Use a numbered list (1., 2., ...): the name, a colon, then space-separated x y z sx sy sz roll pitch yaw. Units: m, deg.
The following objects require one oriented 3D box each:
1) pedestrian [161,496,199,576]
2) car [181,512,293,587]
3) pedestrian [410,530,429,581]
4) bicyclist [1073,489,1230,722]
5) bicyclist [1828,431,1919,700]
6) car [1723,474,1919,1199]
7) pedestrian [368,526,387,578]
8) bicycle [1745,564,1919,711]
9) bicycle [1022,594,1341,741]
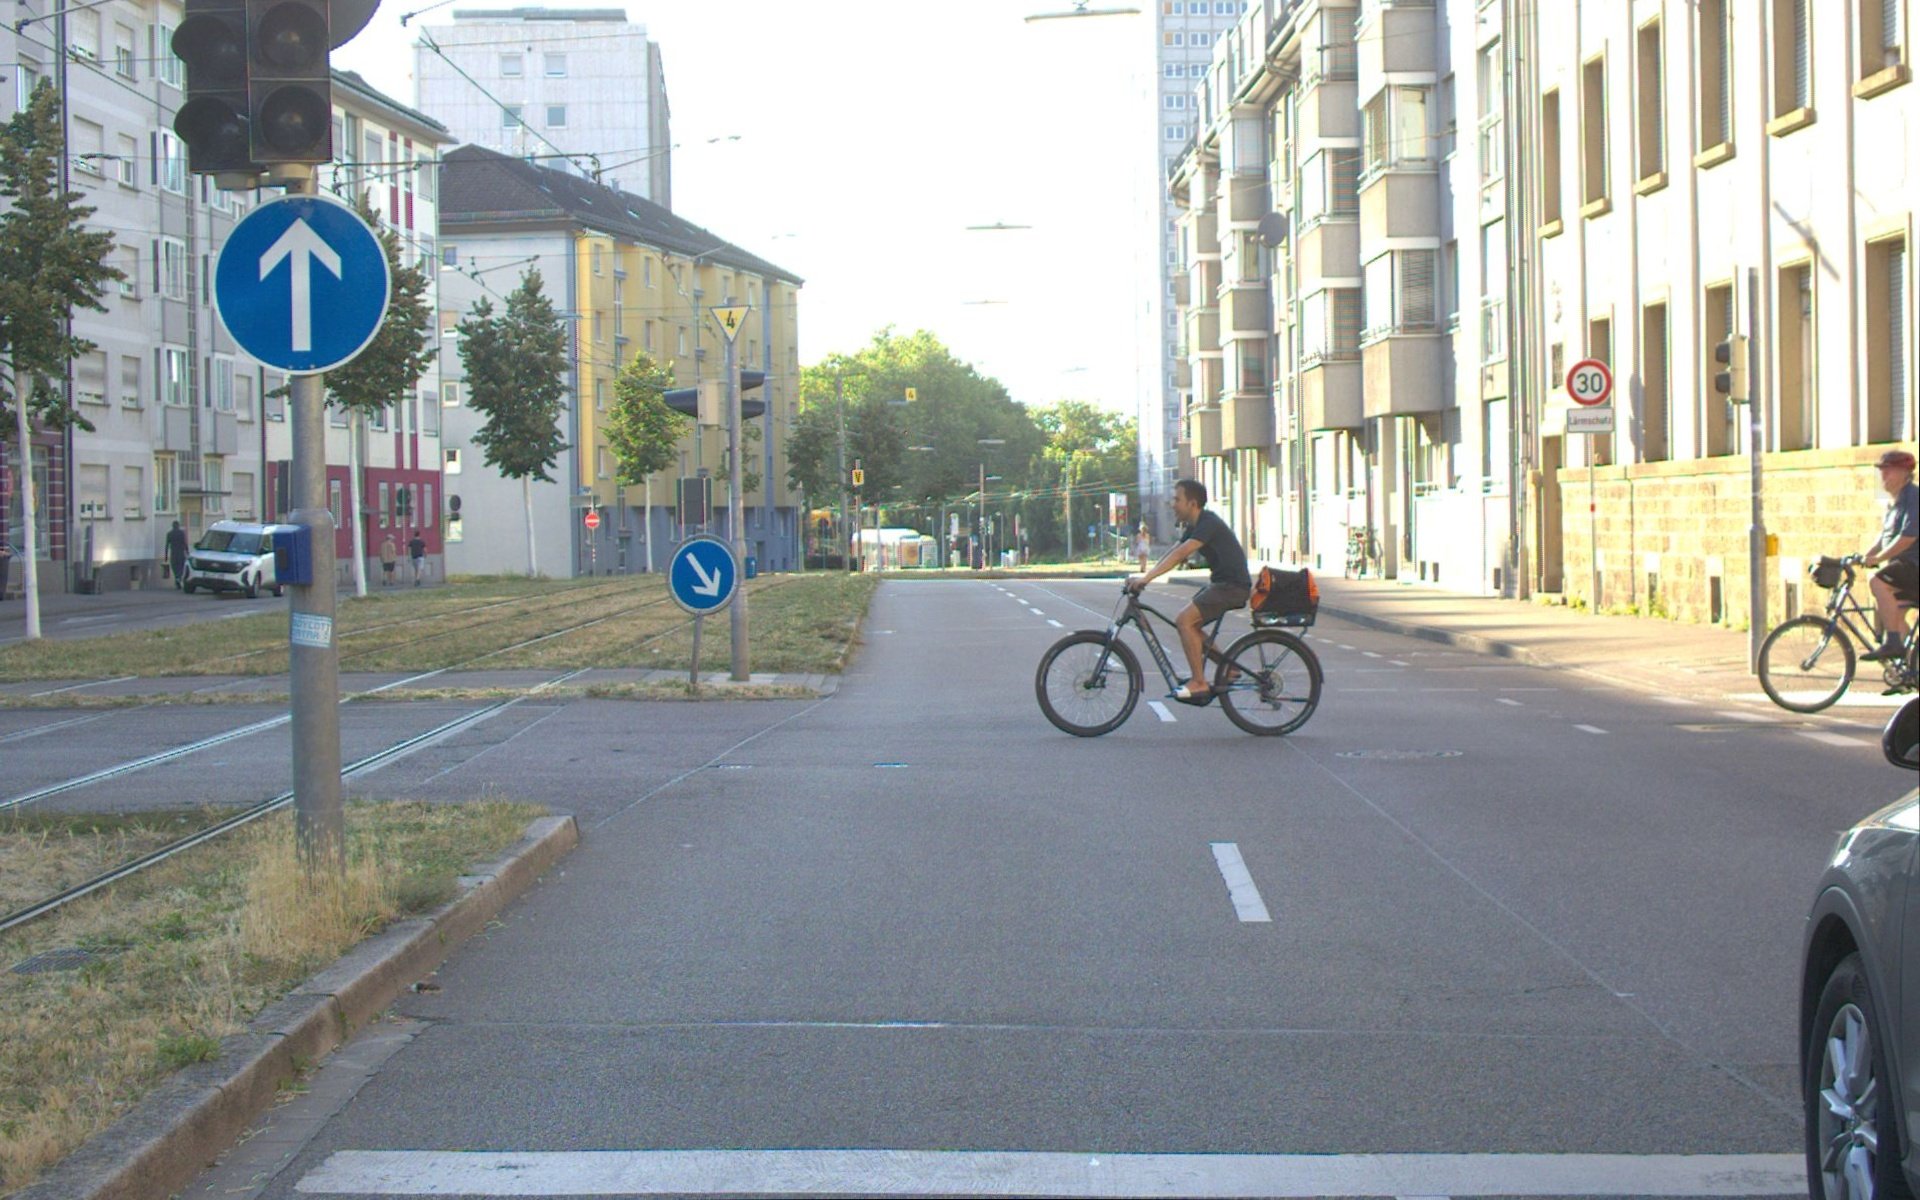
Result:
1. pedestrian: -19.909 -1.633 87.799 0.786 2.007 0.891 -1 1 -4
2. car: -17.976 -1.243 85.616 1.812 1.791 4.245 1 1 1
3. pedestrian: -17.384 -1.430 110.619 0.495 1.652 0.408 -1 1 0
4. bicyclist: 1.275 0.031 23.015 0.903 1.521 0.648 -1 1 -10
5. bicyclist: 7.090 -0.264 25.762 0.959 1.981 0.672 -1 1 -3
6. car: 2.537 0.566 5.296 1.770 1.570 4.086 -1 1 0
7. pedestrian: -18.688 -1.552 110.310 0.495 1.652 0.408 -1 1 0
8. bicycle: 6.940 0.277 25.817 1.943 1.090 0.575 0 1 -3
9. bicycle: 1.476 0.441 23.063 1.978 0.891 0.786 -2 1 -10
